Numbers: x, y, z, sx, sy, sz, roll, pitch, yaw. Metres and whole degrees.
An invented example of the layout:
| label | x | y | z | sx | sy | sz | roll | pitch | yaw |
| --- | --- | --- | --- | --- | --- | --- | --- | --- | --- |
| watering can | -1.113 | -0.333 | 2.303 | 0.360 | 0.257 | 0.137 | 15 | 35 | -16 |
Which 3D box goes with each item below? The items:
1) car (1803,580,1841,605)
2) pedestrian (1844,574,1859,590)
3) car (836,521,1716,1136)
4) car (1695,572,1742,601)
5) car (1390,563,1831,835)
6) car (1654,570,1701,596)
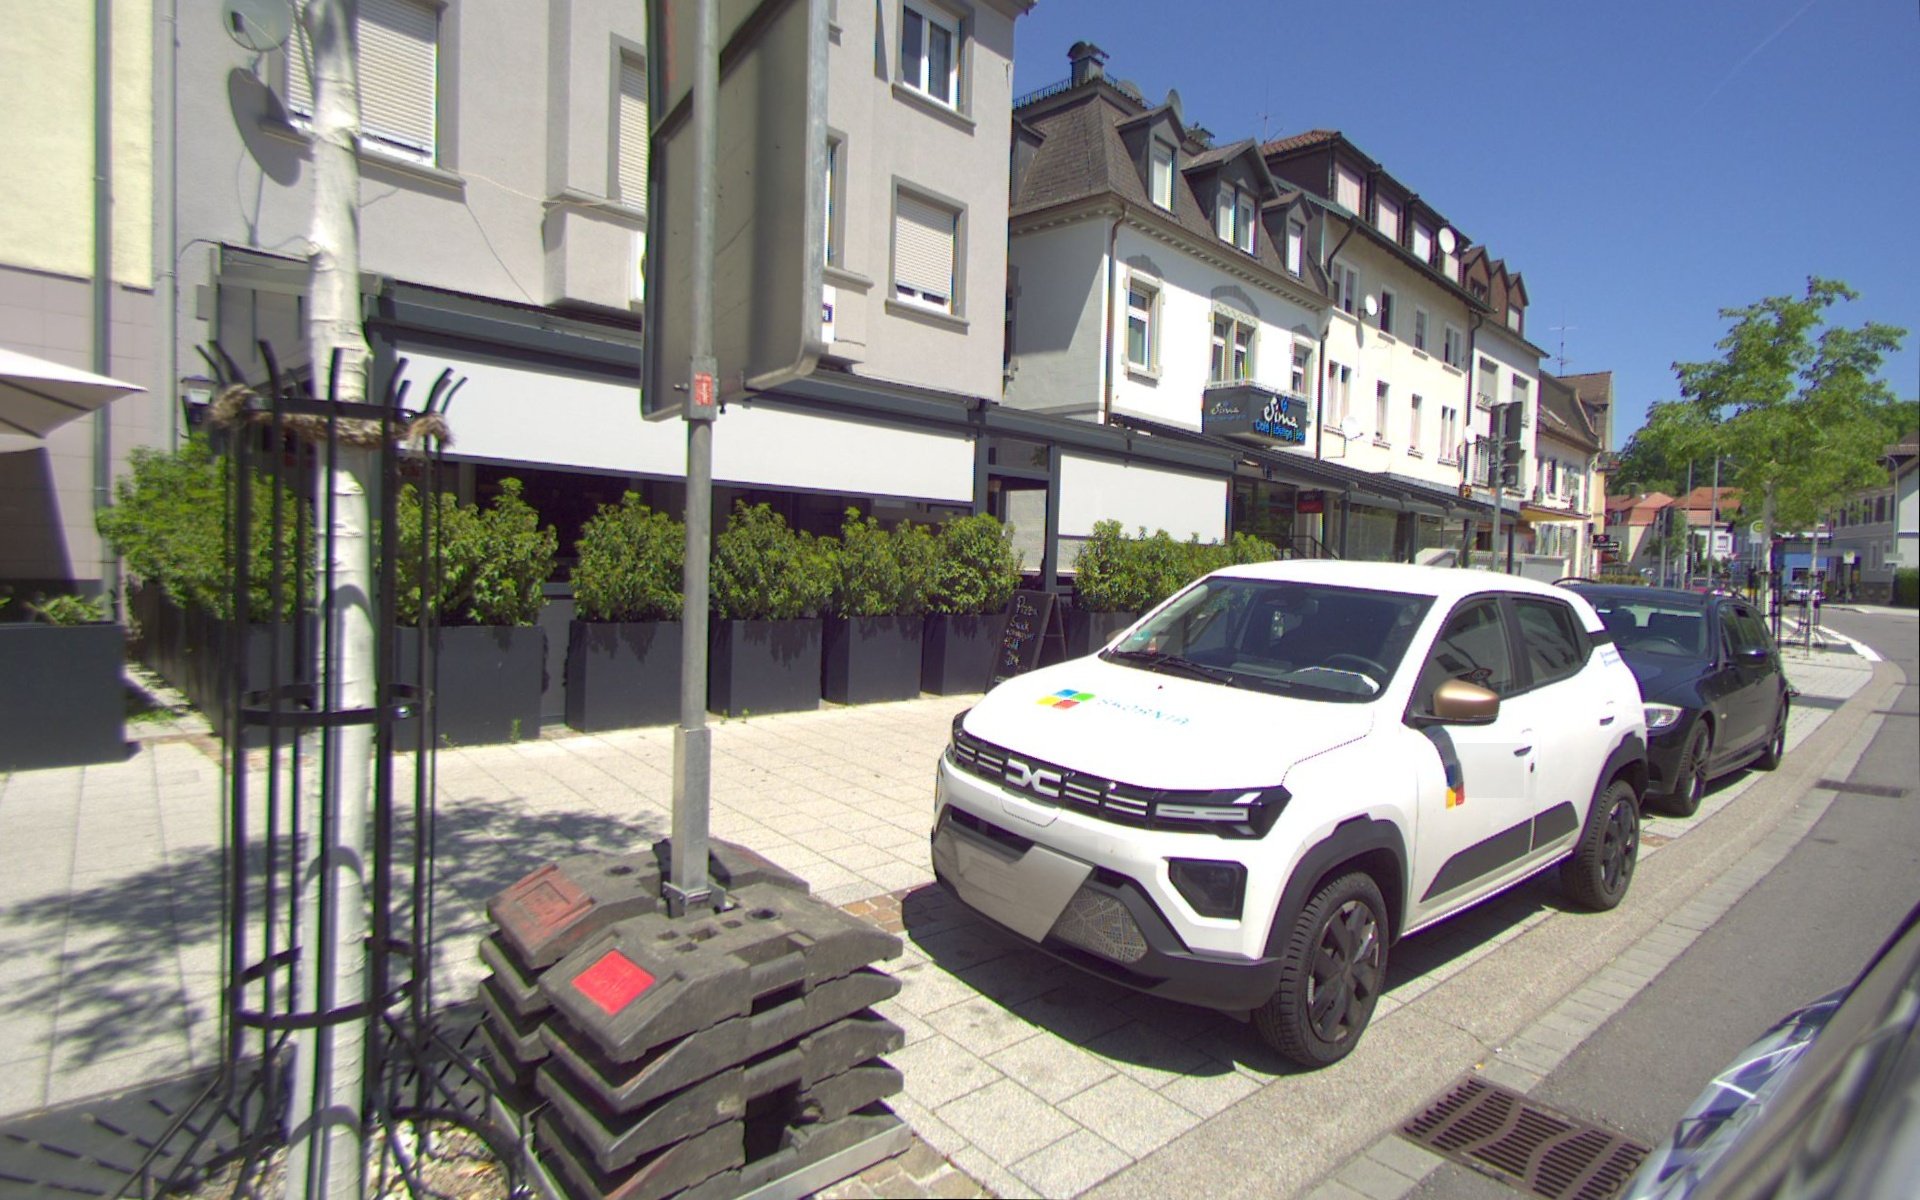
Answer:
| label | x | y | z | sx | sy | sz | roll | pitch | yaw |
| --- | --- | --- | --- | --- | --- | --- | --- | --- | --- |
| car | 51.079 | -0.453 | 59.946 | 1.665 | 1.413 | 3.791 | 1 | 1 | 41 |
| pedestrian | 59.972 | -1.191 | 68.063 | 0.592 | 1.072 | 0.562 | 2 | 2 | 25 |
| car | 1.630 | 0.509 | 4.464 | 3.982 | 1.503 | 1.743 | -1 | 5 | -39 |
| car | 41.064 | -0.726 | 54.856 | 1.671 | 1.533 | 3.349 | 1 | 1 | 32 |
| car | 5.252 | 0.520 | 7.968 | 4.025 | 1.499 | 1.837 | -2 | 6 | -42 |
| car | 46.990 | -1.169 | 66.385 | 1.719 | 1.490 | 4.286 | 5 | 4 | 26 |
